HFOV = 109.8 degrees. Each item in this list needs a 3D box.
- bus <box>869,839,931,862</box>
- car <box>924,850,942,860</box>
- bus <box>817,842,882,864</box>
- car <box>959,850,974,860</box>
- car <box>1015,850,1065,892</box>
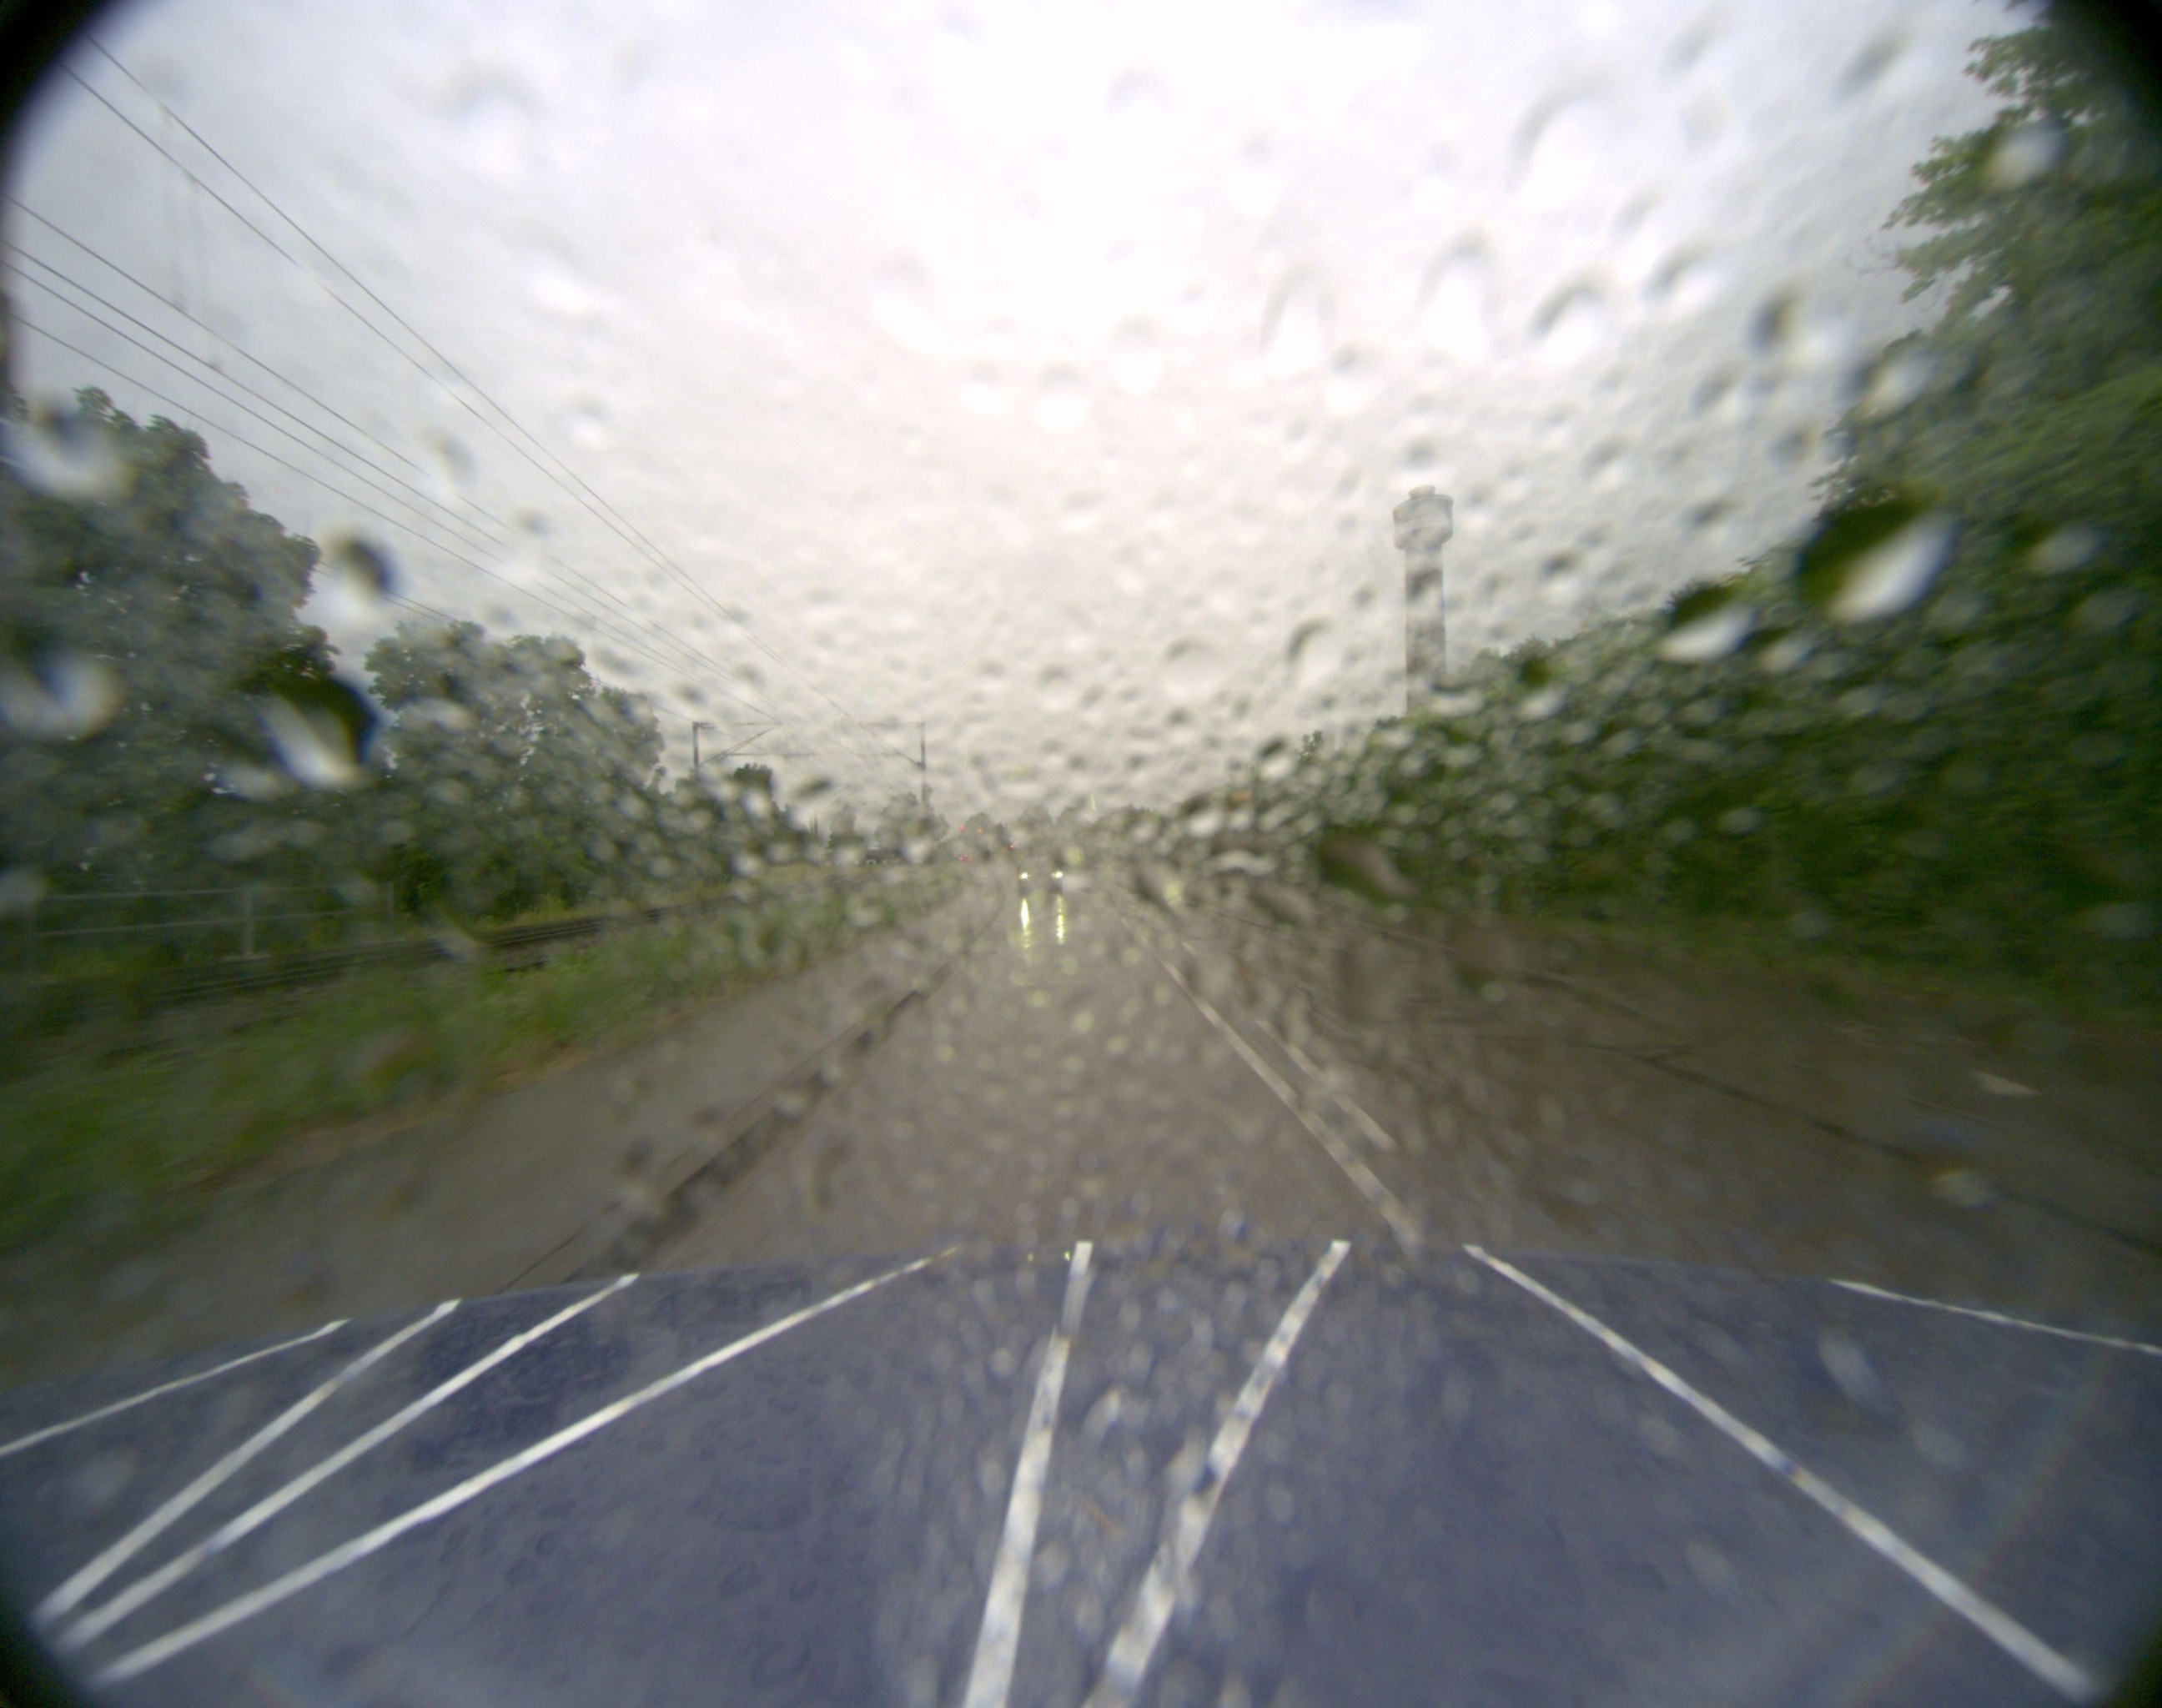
[{"bbox_3d":[-27.059,-0.472,113.391,9.968,3.060,2.683,-2,1,31],"label":"bus"},{"bbox_3d":[-31.397,0.161,161.298,1.918,2.002,4.004,-2,1,18],"label":"car"},{"bbox_3d":[-35.902,-0.193,117.818,9.971,3.060,2.682,-2,1,23],"label":"bus"},{"bbox_3d":[-17.507,0.130,116.292,1.769,1.528,3.871,-1,1,-16],"label":"car"},{"bbox_3d":[-1.794,0.676,32.984,1.999,1.622,3.998,-2,1,-3],"label":"car"}]
